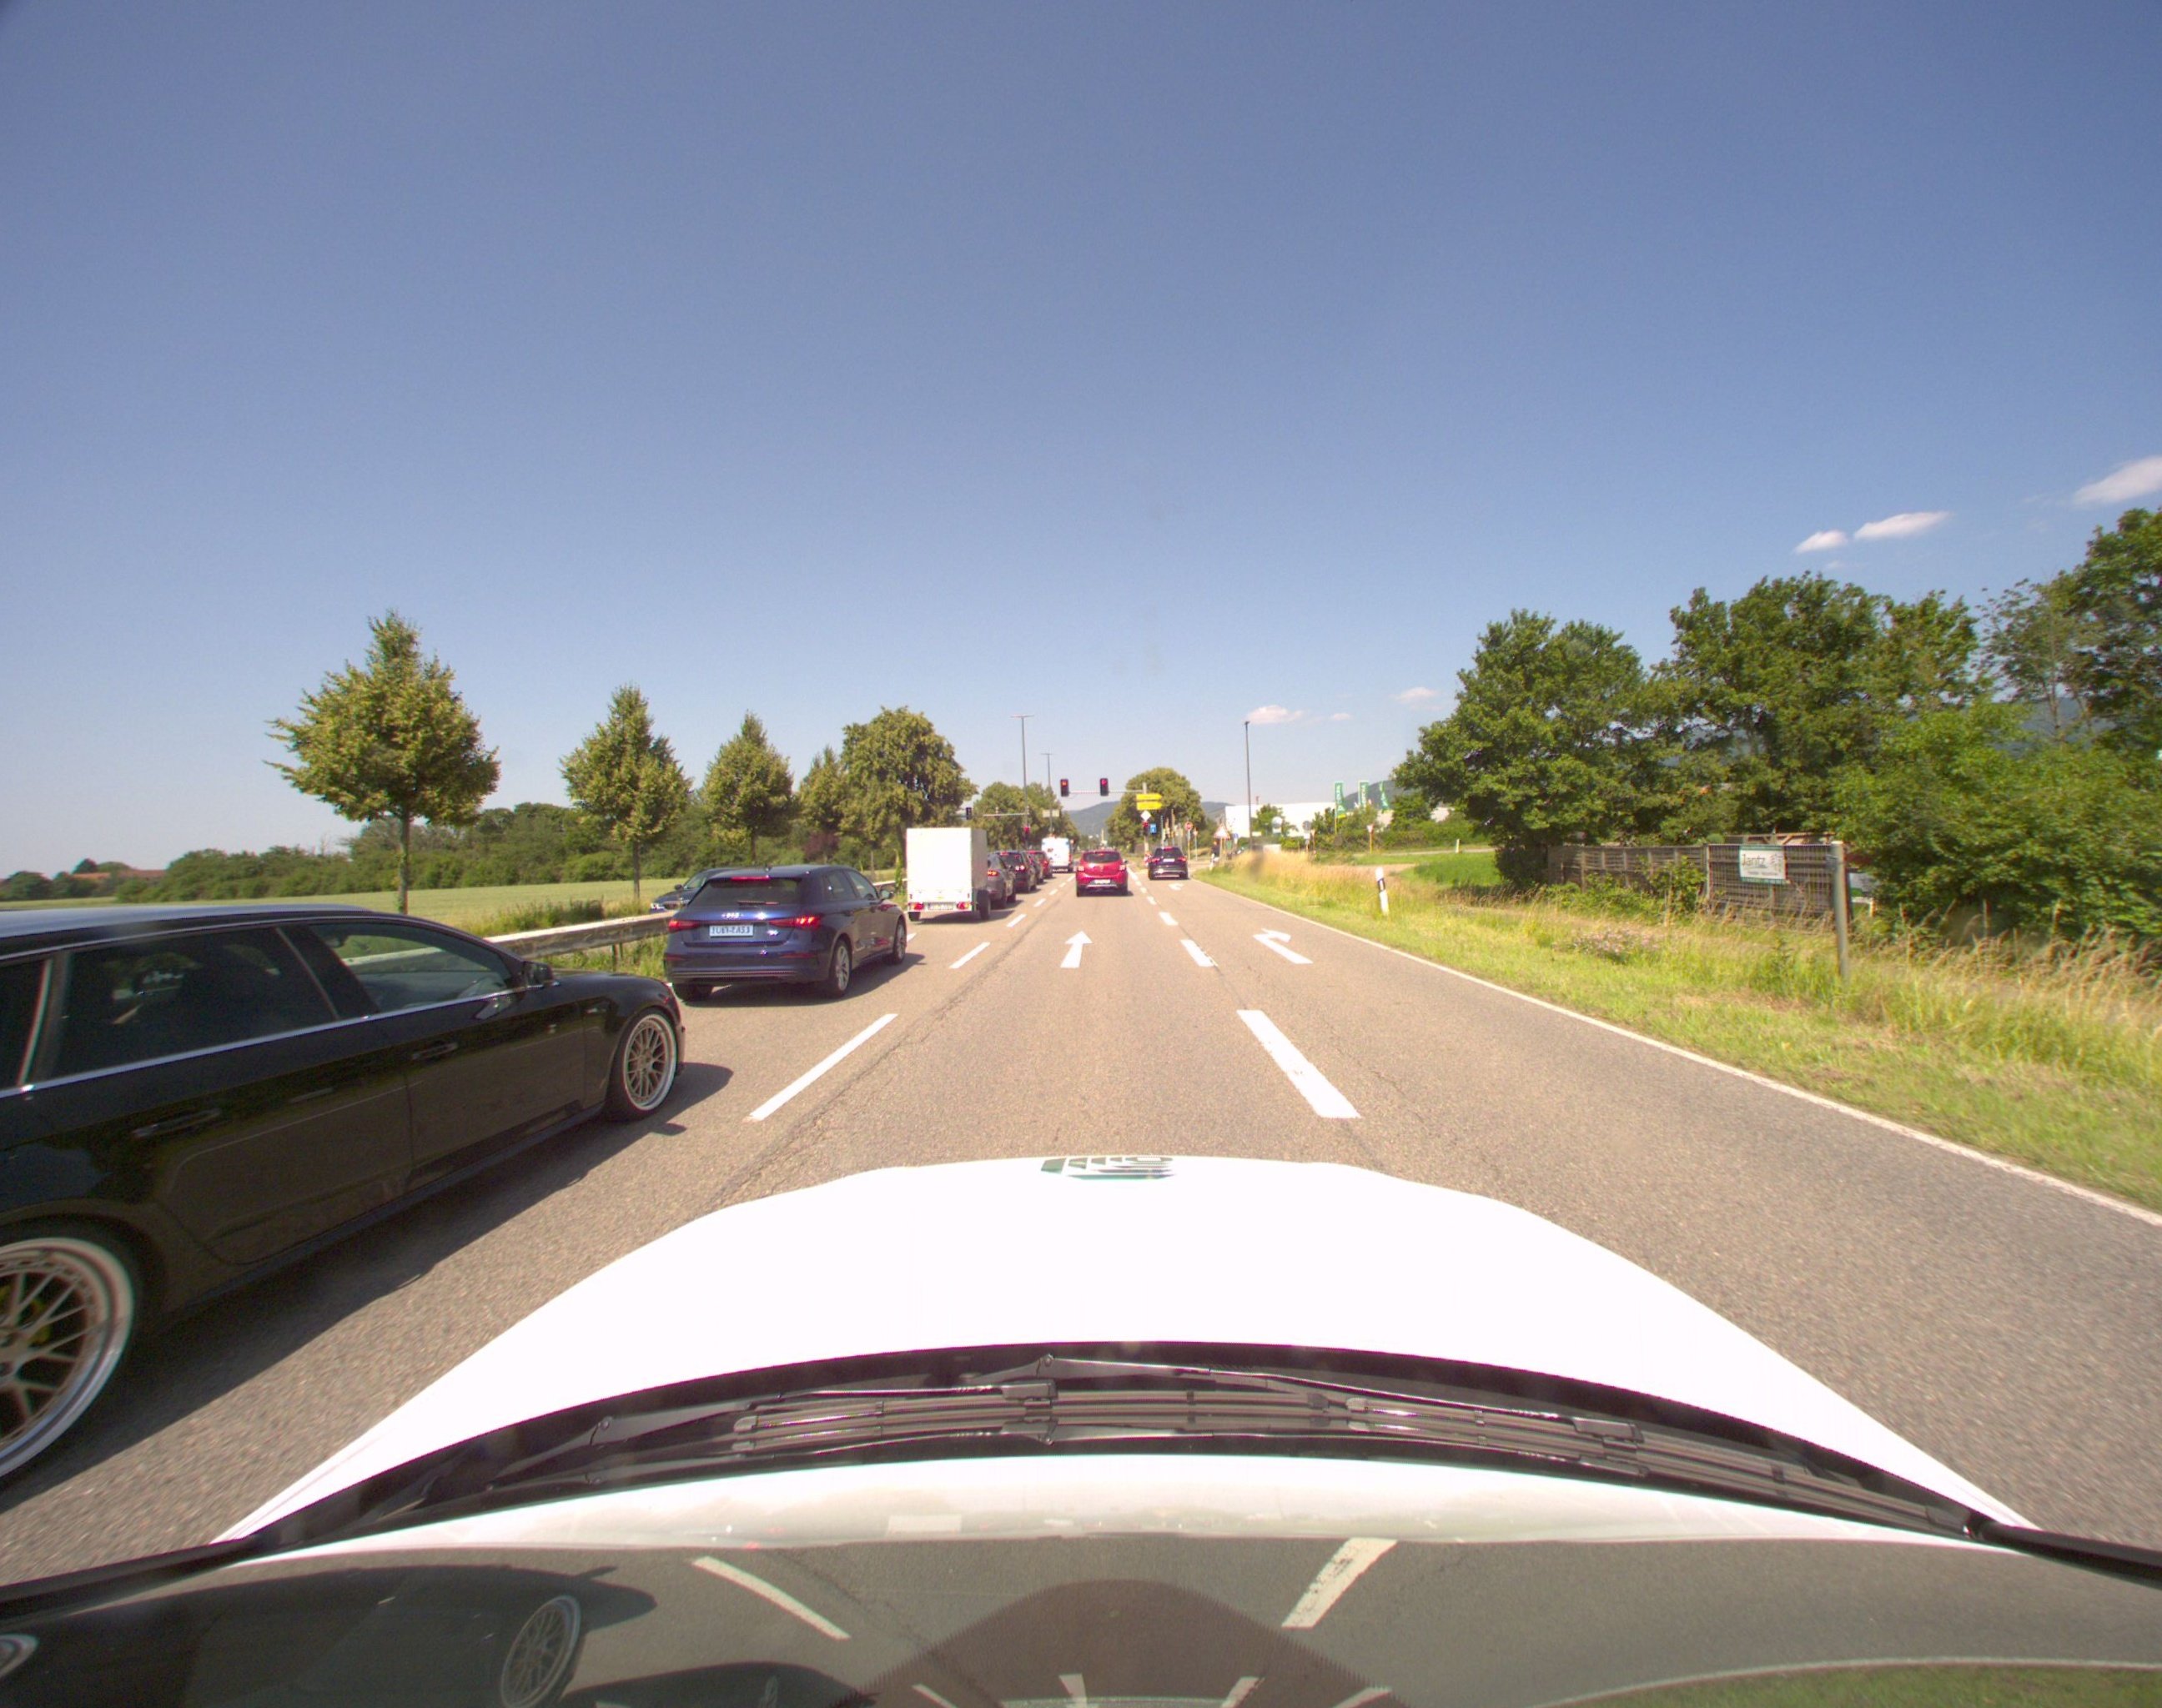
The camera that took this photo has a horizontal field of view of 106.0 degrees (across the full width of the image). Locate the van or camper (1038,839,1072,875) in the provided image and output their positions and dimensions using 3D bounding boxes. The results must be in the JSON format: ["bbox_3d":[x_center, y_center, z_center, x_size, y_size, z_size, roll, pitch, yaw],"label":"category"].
[{"bbox_3d":[-1.697,0.185,54.960,2.172,2.302,4.825,-1,0,-1],"label":"van or camper"}]

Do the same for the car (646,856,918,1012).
[{"bbox_3d":[-3.335,0.789,9.983,1.711,1.465,4.032,-1,0,2],"label":"car"}]

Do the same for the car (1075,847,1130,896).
[{"bbox_3d":[0.799,0.550,28.129,1.742,1.575,3.680,-1,0,3],"label":"car"}]

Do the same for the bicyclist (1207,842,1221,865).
[{"bbox_3d":[10.509,-0.023,64.348,0.802,1.771,0.806,-2,0,-10],"label":"bicyclist"}]

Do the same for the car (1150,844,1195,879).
[{"bbox_3d":[4.472,0.335,40.528,1.985,1.616,4.343,-1,0,3],"label":"car"}]

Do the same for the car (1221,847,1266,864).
[{"bbox_3d":[15.039,0.124,75.551,3.964,1.327,1.811,-2,0,8],"label":"car"}]

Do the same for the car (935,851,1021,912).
[{"bbox_3d":[-2.827,0.704,23.293,1.739,1.503,4.364,-2,0,1],"label":"car"}]

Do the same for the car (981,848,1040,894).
[{"bbox_3d":[-2.574,0.598,30.572,1.716,1.575,3.895,-1,0,2],"label":"car"}]

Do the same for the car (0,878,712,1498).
[{"bbox_3d":[-3.443,0.872,3.269,1.733,1.380,4.457,-1,0,2],"label":"car"}]

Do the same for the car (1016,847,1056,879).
[{"bbox_3d":[-2.414,0.462,44.503,1.717,1.600,3.958,-2,0,2],"label":"car"}]

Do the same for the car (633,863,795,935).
[{"bbox_3d":[-8.979,1.036,20.406,1.872,1.454,4.506,-2,0,1],"label":"car"}]

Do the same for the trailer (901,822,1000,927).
[{"bbox_3d":[-2.955,0.429,19.233,1.495,2.173,4.175,-1,0,1],"label":"trailer"}]

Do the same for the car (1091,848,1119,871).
[{"bbox_3d":[1.668,0.361,55.147,1.742,1.458,3.680,-1,1,4],"label":"car"}]

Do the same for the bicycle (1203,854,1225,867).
[{"bbox_3d":[10.525,0.509,64.486,0.761,0.915,2.770,-2,0,-10],"label":"bicycle"}]

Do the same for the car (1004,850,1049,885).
[{"bbox_3d":[-2.473,0.582,37.757,1.695,1.442,3.958,0,2,2],"label":"car"}]
